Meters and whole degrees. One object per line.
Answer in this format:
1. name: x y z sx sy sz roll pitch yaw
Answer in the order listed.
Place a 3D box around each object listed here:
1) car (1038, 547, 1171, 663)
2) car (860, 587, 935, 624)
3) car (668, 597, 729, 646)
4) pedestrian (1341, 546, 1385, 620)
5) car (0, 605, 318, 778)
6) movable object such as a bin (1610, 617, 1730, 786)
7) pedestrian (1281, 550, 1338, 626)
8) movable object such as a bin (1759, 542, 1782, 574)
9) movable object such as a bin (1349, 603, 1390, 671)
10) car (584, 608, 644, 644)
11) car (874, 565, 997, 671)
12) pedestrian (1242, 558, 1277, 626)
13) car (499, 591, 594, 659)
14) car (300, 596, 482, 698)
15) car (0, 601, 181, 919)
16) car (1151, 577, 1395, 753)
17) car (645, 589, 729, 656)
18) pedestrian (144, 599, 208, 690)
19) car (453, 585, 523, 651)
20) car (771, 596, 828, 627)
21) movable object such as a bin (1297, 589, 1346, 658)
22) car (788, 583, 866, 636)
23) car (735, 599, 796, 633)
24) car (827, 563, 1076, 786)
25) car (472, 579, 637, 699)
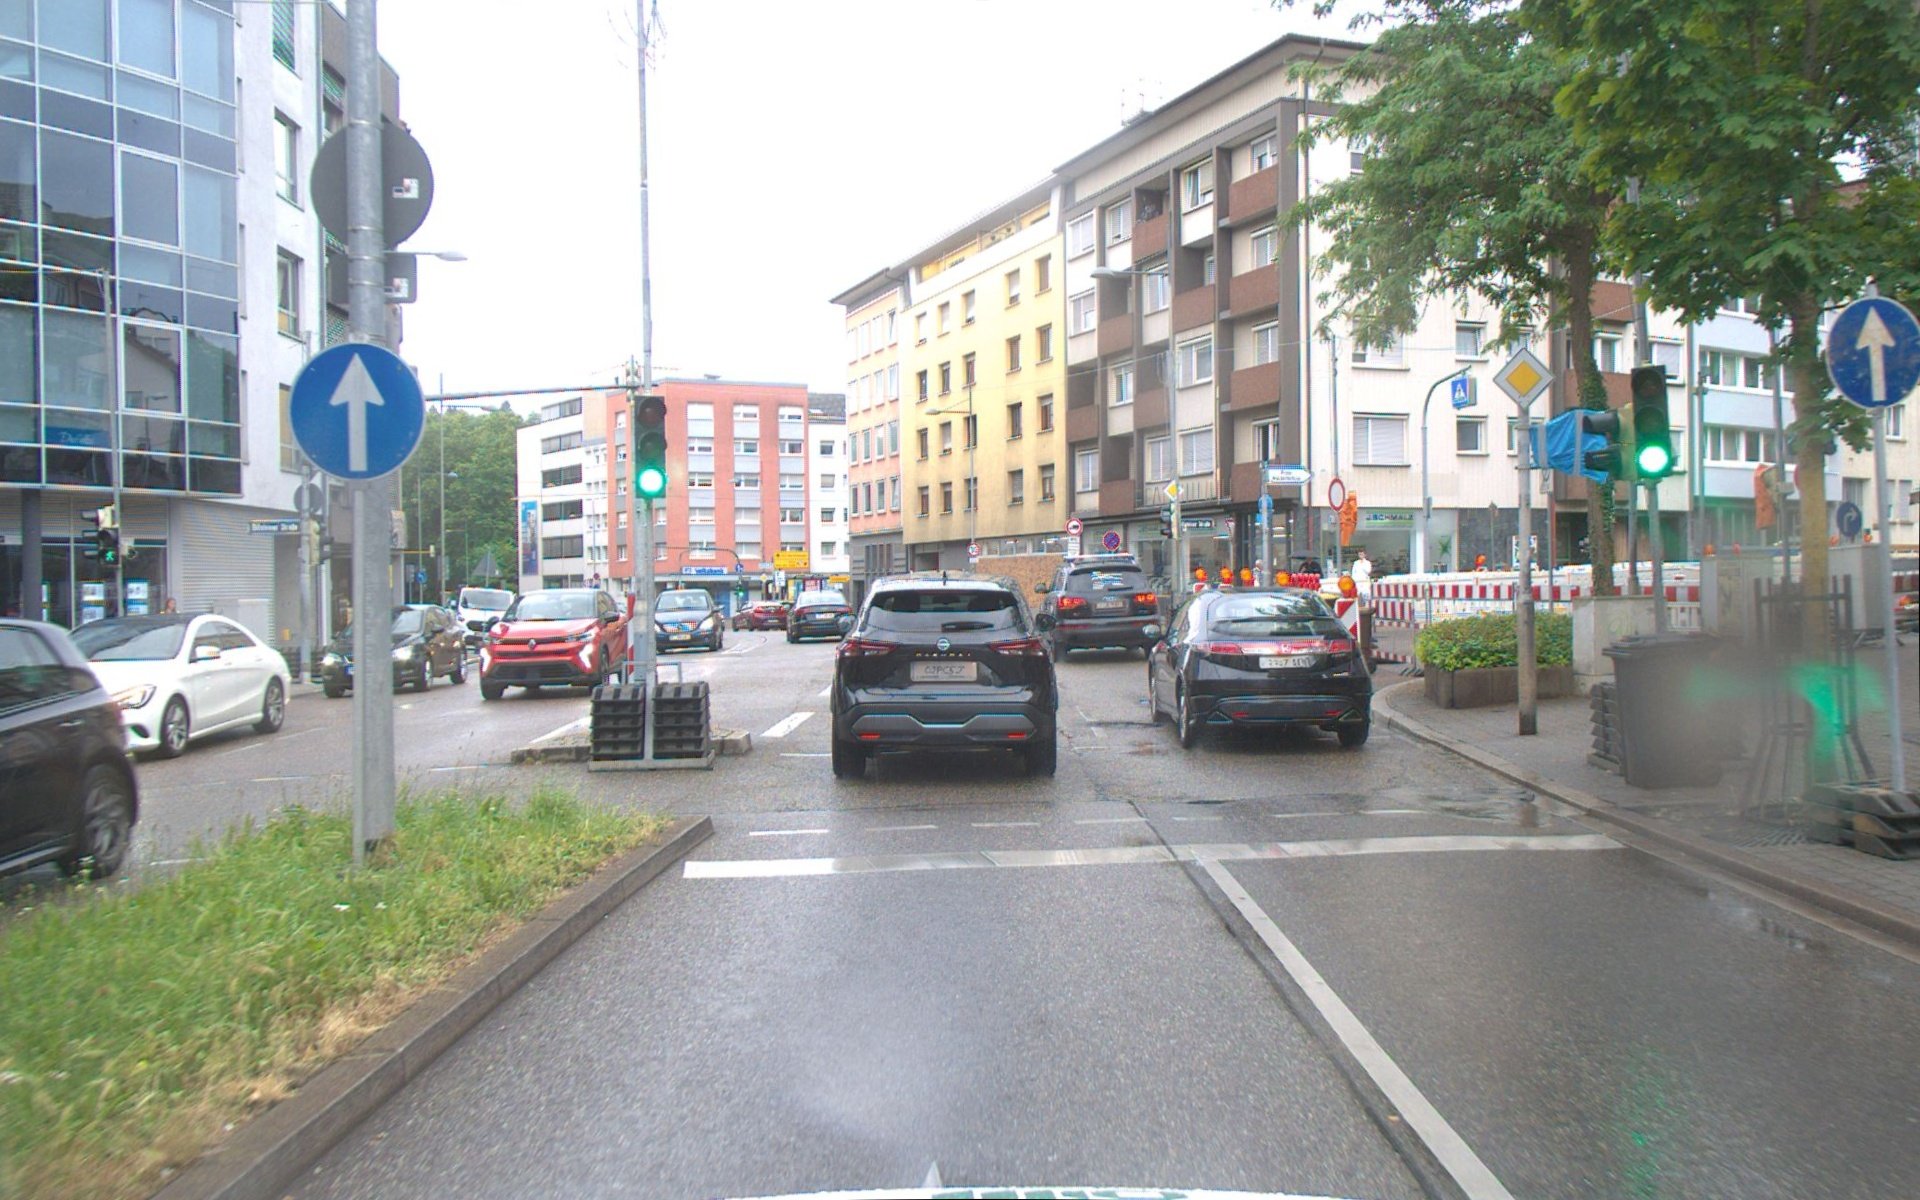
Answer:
1. car: 2.517 0.027 30.012 1.980 1.902 4.900 -1 1 0
2. car: -2.688 0.237 70.598 1.966 1.512 3.972 1 0 -23
3. car: -8.808 0.681 55.509 1.820 1.499 4.635 -2 0 -11
4. pedestrian: 10.658 -0.444 43.779 0.646 1.912 0.987 -4 -2 43
5. car: -8.682 0.879 17.818 1.808 1.442 4.613 -4 1 -2
6. movable object such as a bin: 5.129 0.718 11.974 0.566 1.130 0.666 -3 2 3
7. pedestrian: 9.031 -0.305 42.706 0.912 1.893 1.015 -1 -2 -43
8. movable object such as a bin: 27.903 -1.436 56.926 0.532 1.066 0.525 1 -1 -33
9. movable object such as a bin: 5.975 0.529 24.128 0.411 0.945 0.531 -3 2 -3
10. car: -16.247 1.209 77.556 1.956 1.484 4.456 -3 0 -22
11. car: -0.380 0.281 30.265 1.905 1.714 4.002 -3 0 3
12. pedestrian: 7.841 -0.203 43.245 0.775 1.717 0.822 -3 -2 13
13. car: -10.292 0.573 41.427 1.739 1.550 4.277 -2 1 -7
14. car: -9.586 0.742 28.208 1.810 1.523 3.998 -2 0 -2
15. car: -5.410 0.814 7.600 1.781 1.466 4.155 -3 1 -3
16. car: 2.958 0.542 16.436 1.747 1.523 4.057 0 1 1
17. car: -7.011 0.528 42.792 1.794 1.570 4.279 -2 1 -5
18. pedestrian: -14.635 0.825 30.875 0.611 1.636 0.832 -2 1 24
19. car: -15.525 0.645 54.509 2.084 2.050 5.106 1 -2 -16
20. car: -8.483 0.609 87.044 1.966 1.545 3.974 1 0 -22
21. movable object such as a bin: 5.737 0.367 26.253 0.608 1.049 0.531 -3 2 -3
22. car: -3.802 0.264 46.720 1.956 1.412 4.492 1 0 -7
23. car: -9.221 0.757 78.119 1.965 1.557 3.975 1 0 -21
24. car: -0.112 0.546 14.364 1.856 1.657 3.999 0 0 -2
25. car: -6.081 0.533 25.247 1.811 1.622 4.086 -2 0 -6
